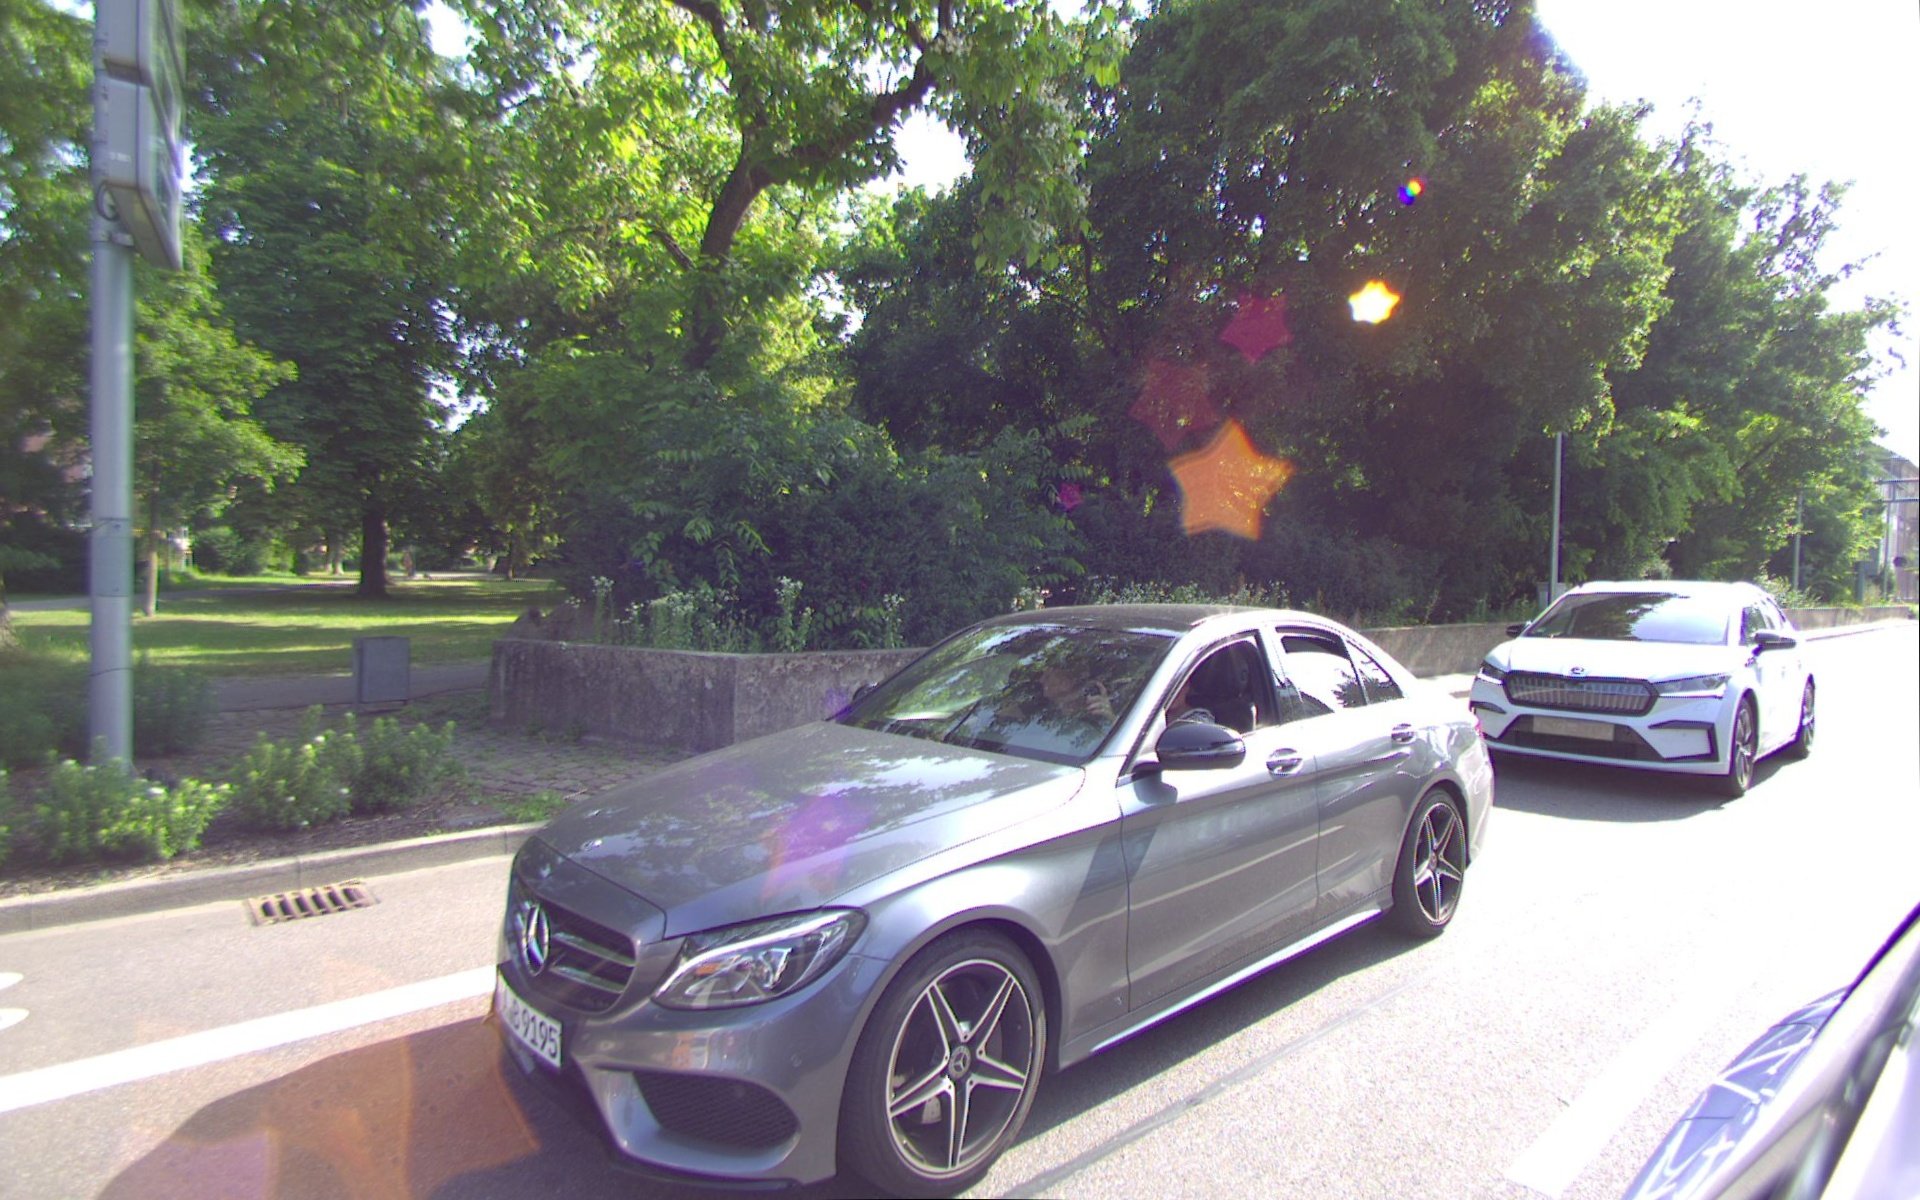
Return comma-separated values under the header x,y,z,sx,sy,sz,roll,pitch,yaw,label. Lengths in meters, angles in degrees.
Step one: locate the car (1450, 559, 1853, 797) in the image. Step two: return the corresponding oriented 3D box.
x,y,z,sx,sy,sz,roll,pitch,yaw,label
6.169,0.487,8.844,4.176,1.590,1.896,-1,1,-41,car
